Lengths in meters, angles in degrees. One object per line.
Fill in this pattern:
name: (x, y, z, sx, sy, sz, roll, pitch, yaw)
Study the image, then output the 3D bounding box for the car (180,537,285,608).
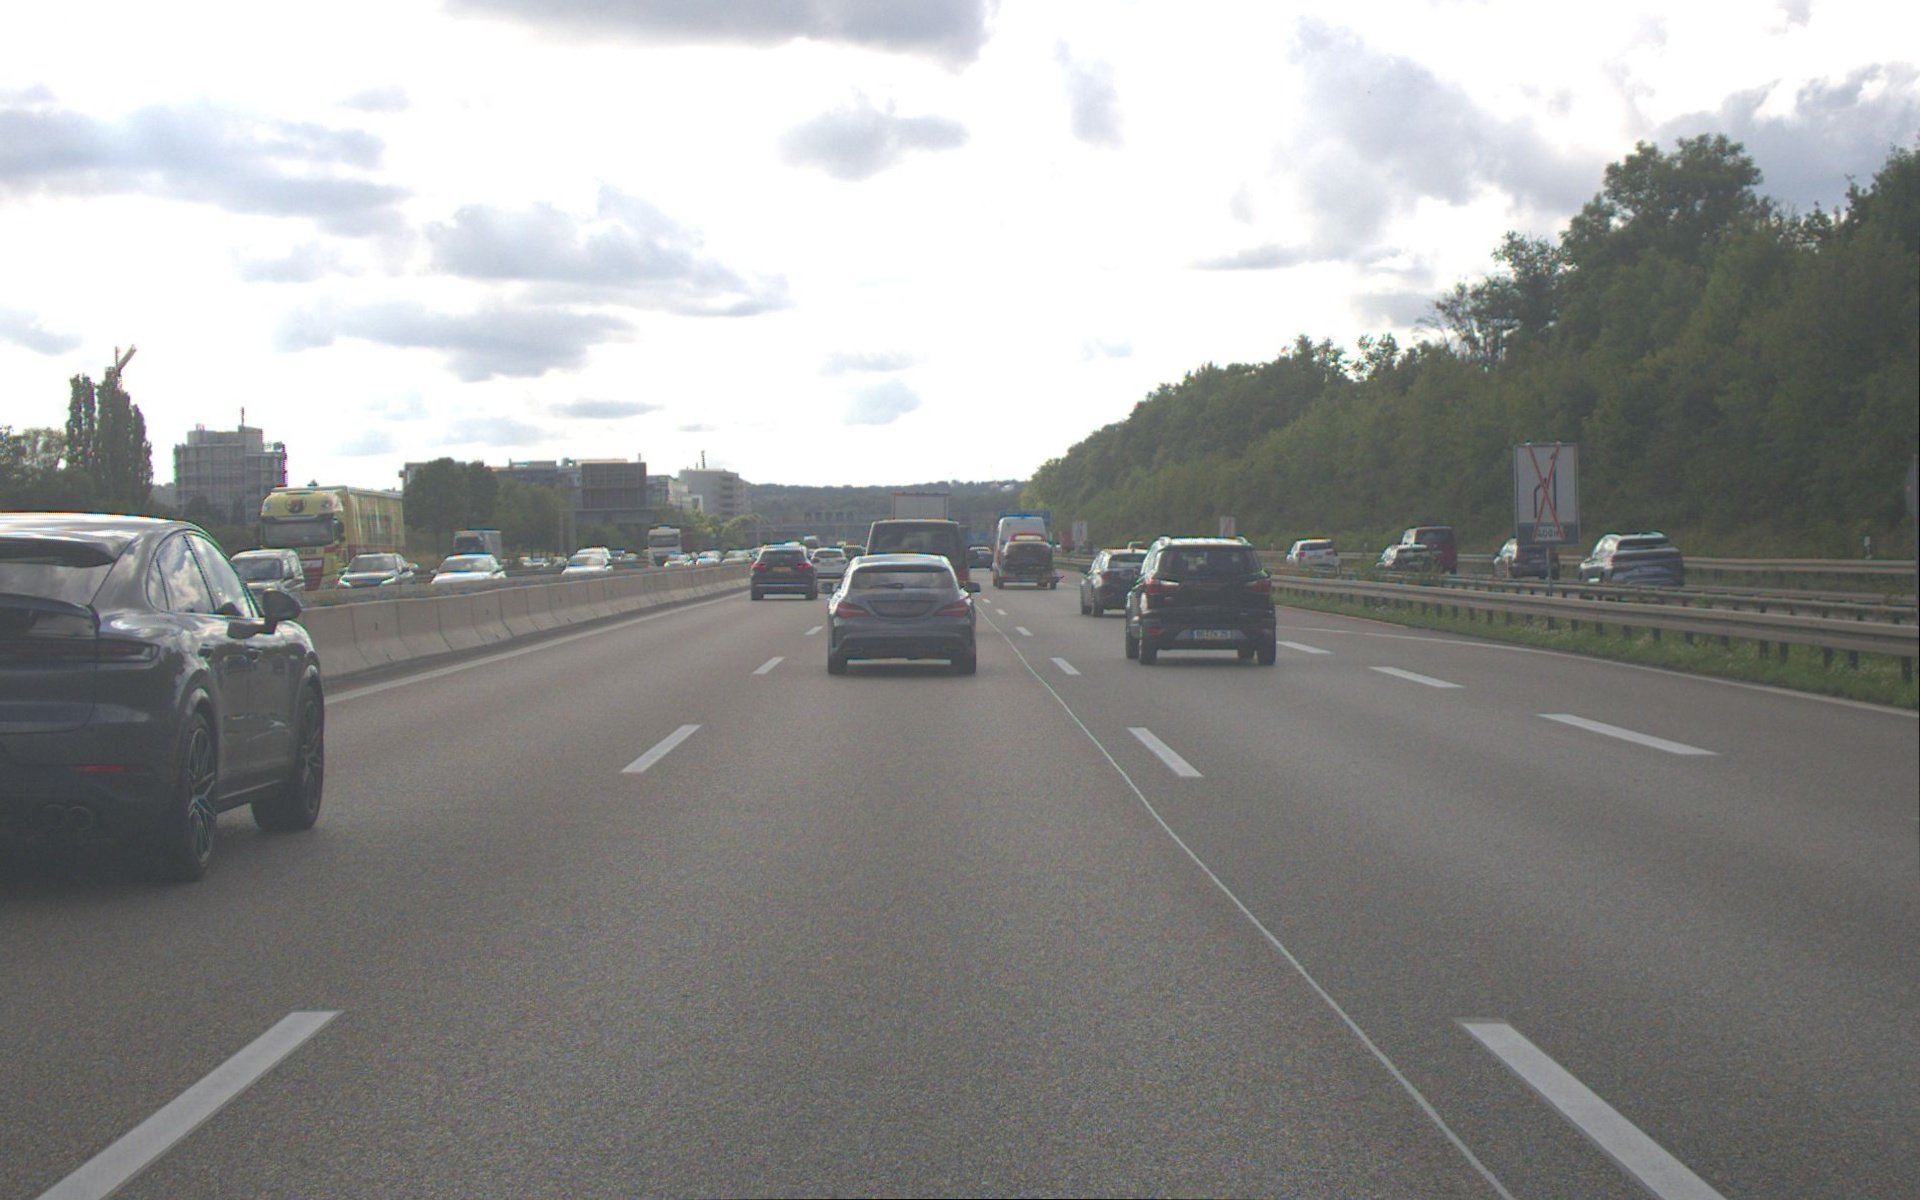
car: (-17.221, -0.675, 81.527, 1.594, 1.605, 4.464, 0, 1, -1)

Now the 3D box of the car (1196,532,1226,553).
car: (17.768, -4.076, 243.456, 1.752, 1.511, 4.191, 0, 1, -2)

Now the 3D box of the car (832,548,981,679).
car: (-0.651, 0.122, 41.916, 1.720, 1.474, 4.392, 0, 1, -1)

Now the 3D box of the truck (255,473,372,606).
truck: (-21.741, -2.055, 115.873, 2.896, 4.308, 5.162, -1, 1, 0)

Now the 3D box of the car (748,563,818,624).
car: (-5.116, -0.208, 99.702, 1.873, 1.692, 4.072, 0, 1, -1)

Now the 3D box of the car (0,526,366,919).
car: (-4.337, 0.454, 16.997, 1.912, 1.630, 5.501, 0, 1, -1)

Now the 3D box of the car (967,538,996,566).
car: (1.348, -3.037, 216.475, 1.752, 1.689, 4.190, 0, 1, -1)

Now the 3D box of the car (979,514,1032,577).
car: (1.720, -2.089, 131.031, 1.873, 2.349, 4.282, 0, 1, -1)

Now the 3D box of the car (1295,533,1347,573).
car: (15.700, -2.058, 149.596, 1.752, 1.689, 4.190, 0, 1, -1)

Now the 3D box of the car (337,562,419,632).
car: (-17.634, -0.113, 104.345, 1.752, 2.007, 4.554, 0, 1, -1)

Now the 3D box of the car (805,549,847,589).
car: (-5.561, -1.311, 143.052, 1.697, 1.605, 4.114, 0, 1, -1)

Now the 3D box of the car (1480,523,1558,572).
car: (19.075, -1.804, 117.449, 1.728, 1.540, 4.306, -3, 1, -2)

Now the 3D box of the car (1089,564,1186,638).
car: (3.849, -0.006, 74.934, 1.832, 1.516, 4.225, 0, 1, -1)

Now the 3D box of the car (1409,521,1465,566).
car: (19.375, -2.282, 139.855, 1.595, 1.797, 3.825, 0, 1, -2)

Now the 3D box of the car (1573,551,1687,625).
car: (16.315, -0.313, 83.903, 1.846, 1.644, 4.306, -2, 1, -1)

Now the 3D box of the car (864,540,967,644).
car: (-0.778, -0.178, 59.632, 1.720, 1.718, 4.392, 0, 1, -1)

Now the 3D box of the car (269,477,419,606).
car: (-21.852, -2.129, 122.829, 2.905, 4.310, 14.147, -1, 1, -1)

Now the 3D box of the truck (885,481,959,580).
truck: (-1.755, -3.220, 159.285, 3.263, 4.360, 11.027, 0, 1, -1)

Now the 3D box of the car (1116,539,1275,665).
car: (3.053, -0.011, 45.252, 1.697, 1.559, 4.114, 0, 1, -1)

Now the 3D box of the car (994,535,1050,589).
car: (2.227, -1.394, 124.188, 1.913, 1.912, 4.031, 0, 1, -1)

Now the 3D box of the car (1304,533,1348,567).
car: (19.027, -2.607, 178.809, 1.752, 1.689, 4.190, 0, 1, -1)
